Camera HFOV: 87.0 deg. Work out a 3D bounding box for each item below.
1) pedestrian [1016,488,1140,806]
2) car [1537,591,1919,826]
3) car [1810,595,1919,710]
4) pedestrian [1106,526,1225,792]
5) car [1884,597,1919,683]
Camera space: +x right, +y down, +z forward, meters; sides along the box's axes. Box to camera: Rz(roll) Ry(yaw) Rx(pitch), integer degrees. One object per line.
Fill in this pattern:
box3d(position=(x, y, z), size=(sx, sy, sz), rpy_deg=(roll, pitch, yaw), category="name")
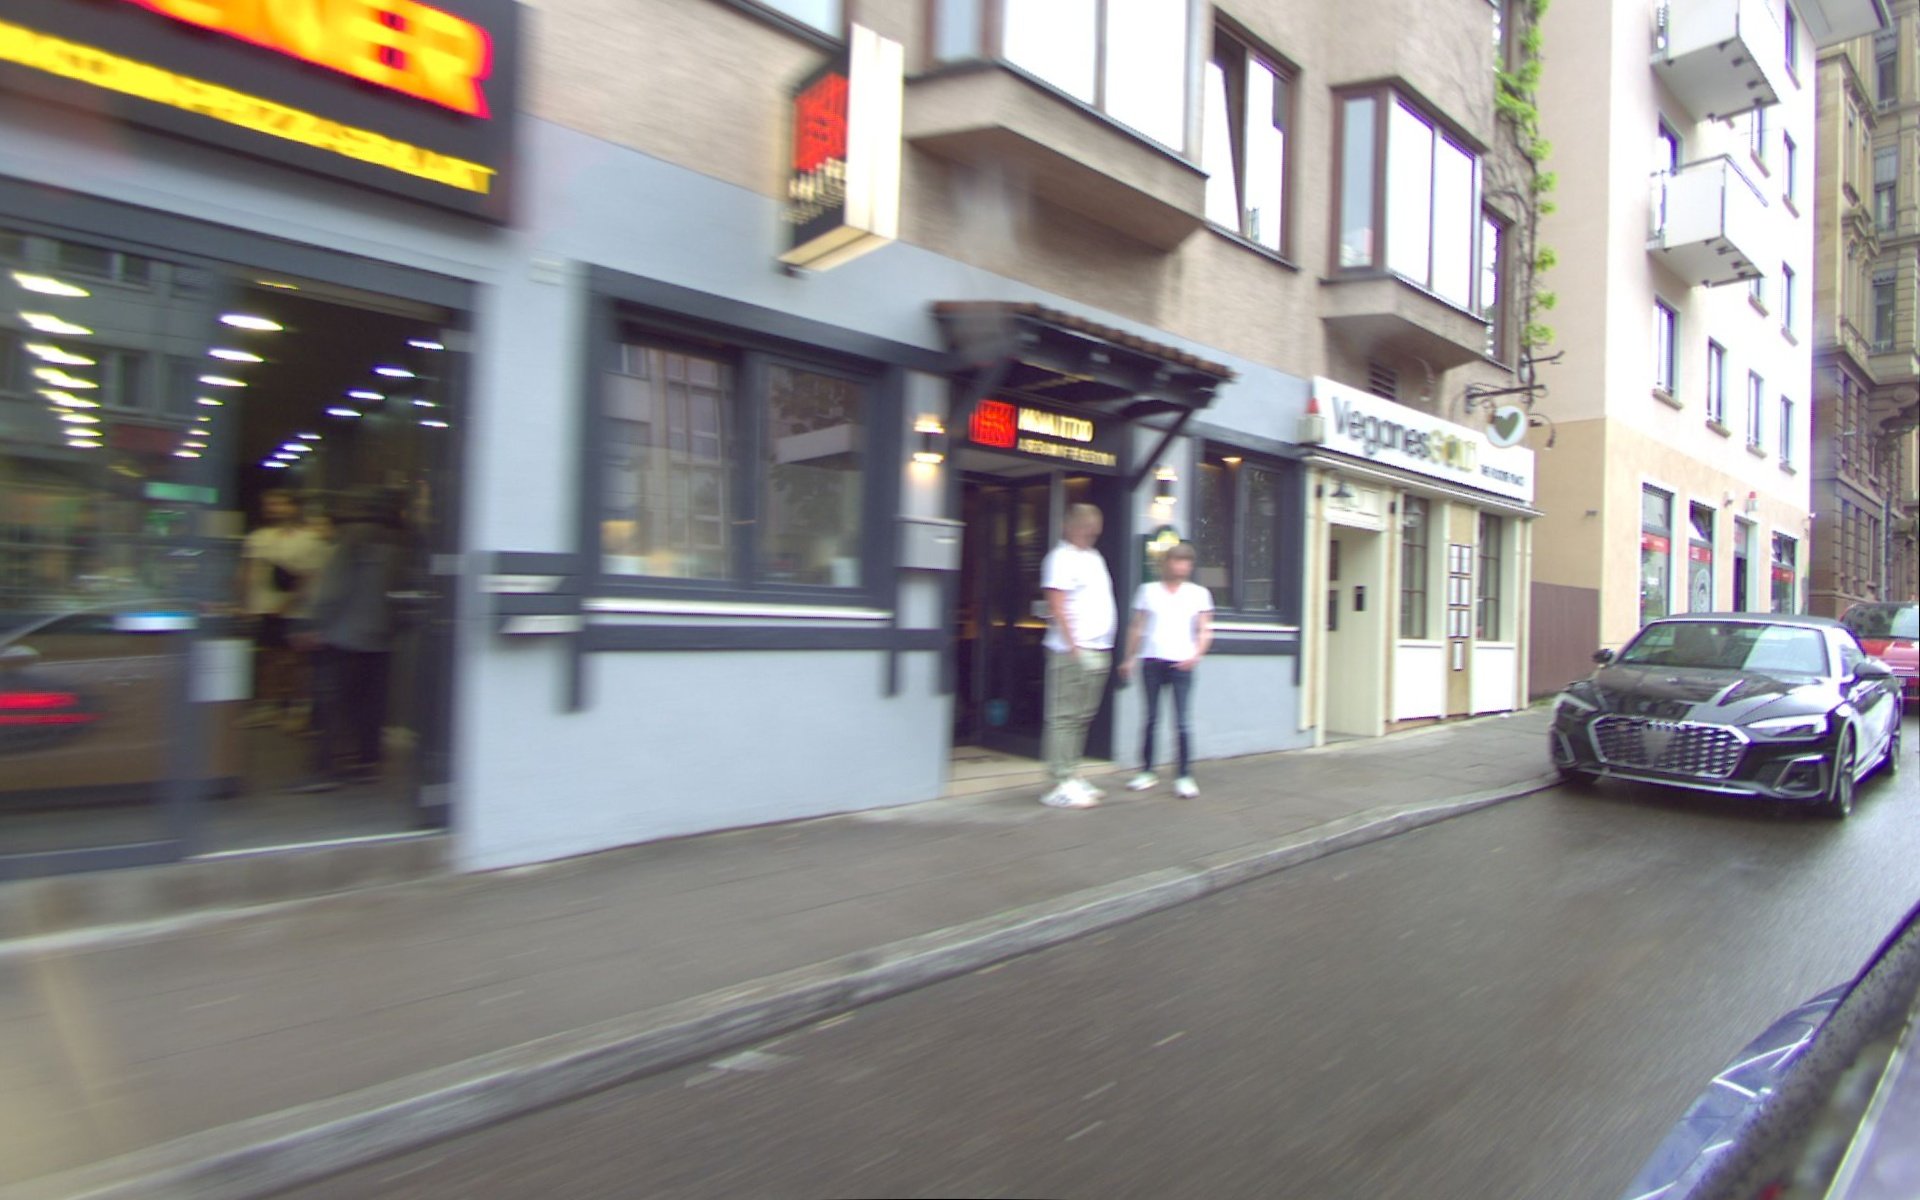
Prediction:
box3d(position=(0.745, 0.270, 6.369), size=(0.528, 1.881, 0.548), rpy_deg=(2, 1, 42), category="pedestrian")
box3d(position=(6.736, 0.681, 8.609), size=(4.171, 1.480, 1.910), rpy_deg=(0, 1, -41), category="car")
box3d(position=(13.639, 0.684, 14.522), size=(3.353, 1.480, 1.649), rpy_deg=(0, 1, -40), category="car")
box3d(position=(1.394, 0.367, 6.863), size=(0.544, 1.701, 0.587), rpy_deg=(2, 1, 42), category="pedestrian")
box3d(position=(18.326, 0.704, 18.471), size=(3.384, 1.480, 1.720), rpy_deg=(0, 1, -40), category="car")
